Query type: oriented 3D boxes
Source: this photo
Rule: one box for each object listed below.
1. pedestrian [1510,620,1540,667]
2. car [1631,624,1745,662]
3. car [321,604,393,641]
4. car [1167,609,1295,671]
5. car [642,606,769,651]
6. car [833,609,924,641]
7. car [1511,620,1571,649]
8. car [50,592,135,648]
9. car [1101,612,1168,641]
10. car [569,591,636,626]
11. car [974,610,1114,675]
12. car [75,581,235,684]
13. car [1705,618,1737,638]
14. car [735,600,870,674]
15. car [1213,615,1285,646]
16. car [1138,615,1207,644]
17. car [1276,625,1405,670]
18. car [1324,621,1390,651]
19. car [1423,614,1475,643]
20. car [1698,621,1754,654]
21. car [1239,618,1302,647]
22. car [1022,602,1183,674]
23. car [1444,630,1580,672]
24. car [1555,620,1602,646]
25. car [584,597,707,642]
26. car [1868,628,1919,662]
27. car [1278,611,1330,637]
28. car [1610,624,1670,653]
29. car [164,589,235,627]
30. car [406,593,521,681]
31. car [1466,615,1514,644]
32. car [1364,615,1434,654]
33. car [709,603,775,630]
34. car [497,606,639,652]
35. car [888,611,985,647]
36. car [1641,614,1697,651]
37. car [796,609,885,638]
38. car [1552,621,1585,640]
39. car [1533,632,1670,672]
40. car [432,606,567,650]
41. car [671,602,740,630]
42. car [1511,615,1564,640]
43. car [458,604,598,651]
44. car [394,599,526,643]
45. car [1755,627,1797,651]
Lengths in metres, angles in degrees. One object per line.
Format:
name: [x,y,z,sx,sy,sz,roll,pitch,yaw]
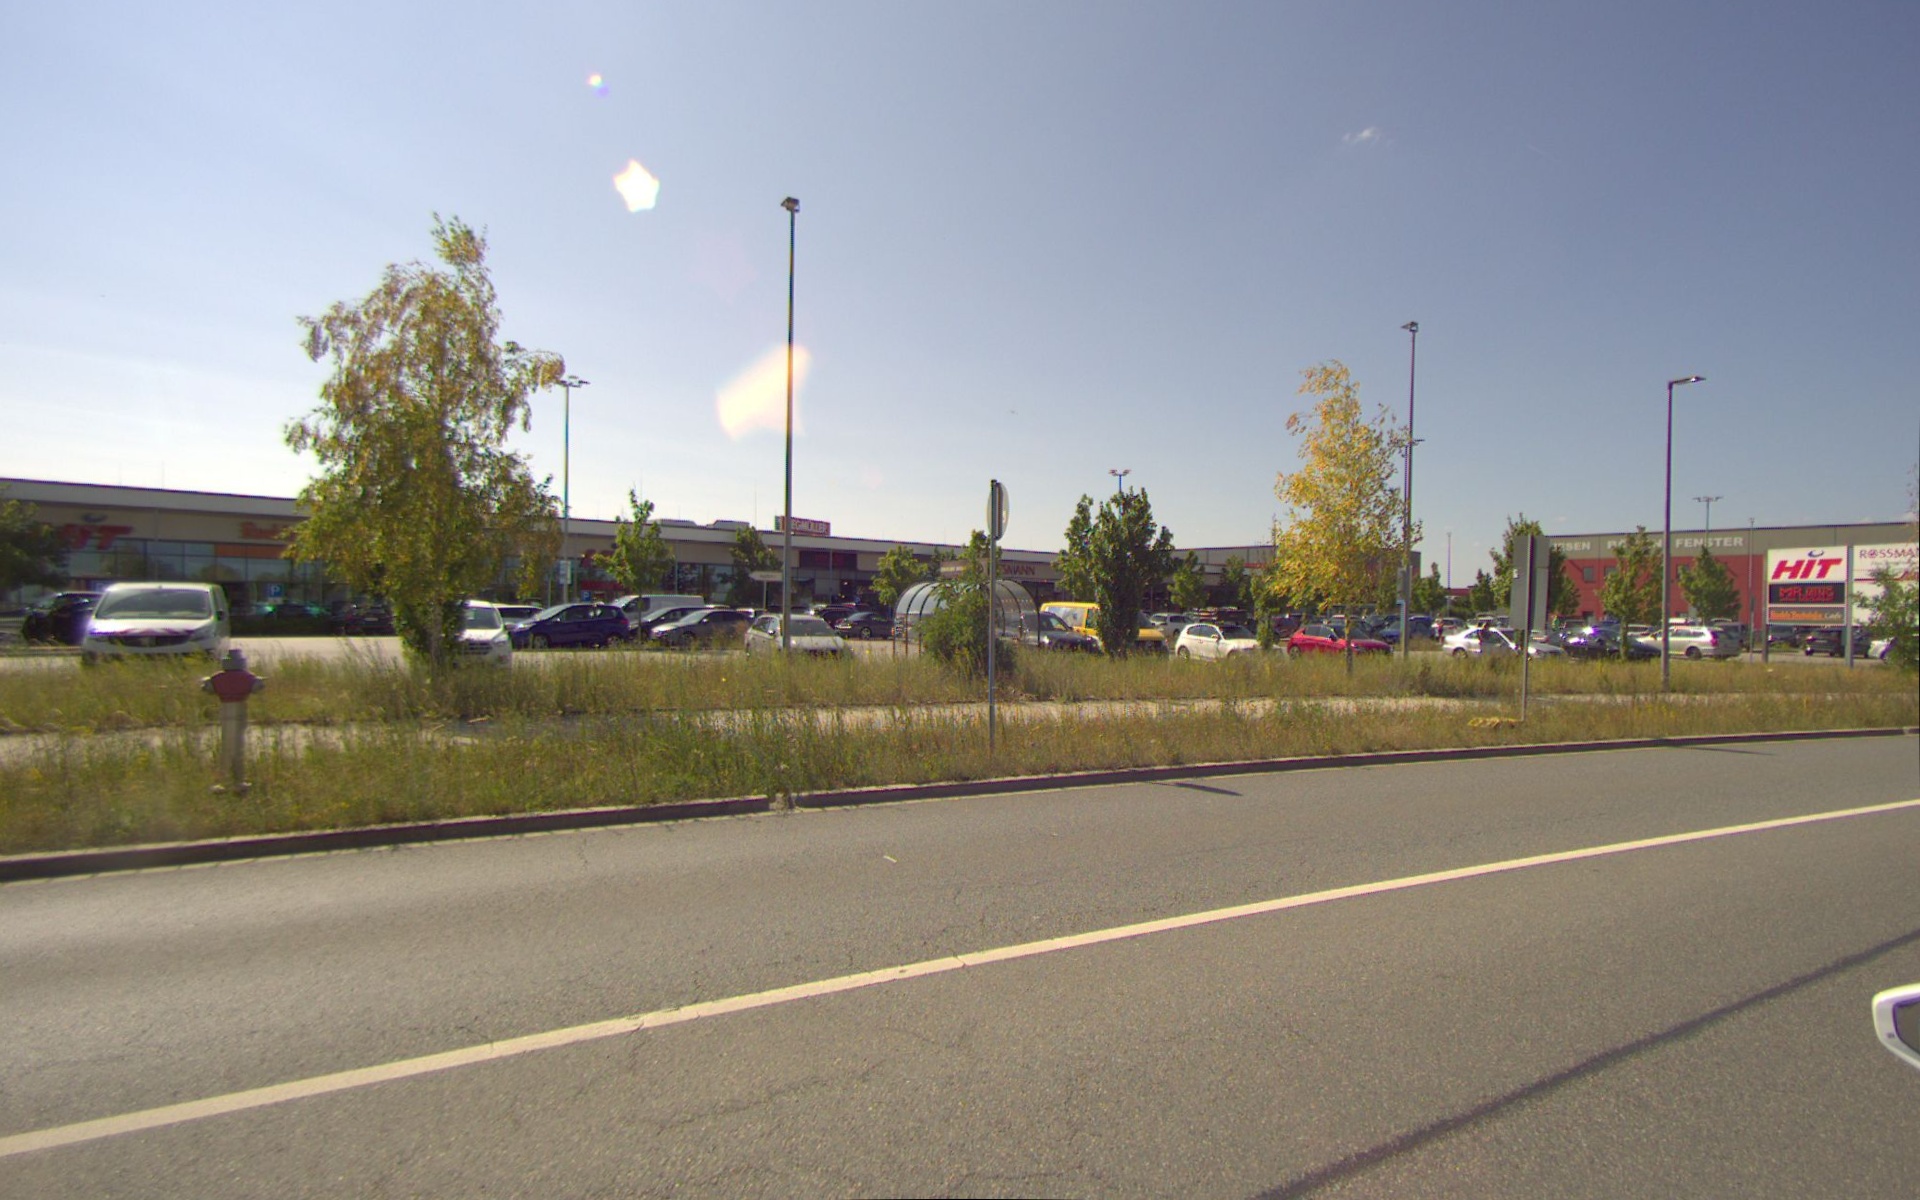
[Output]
pedestrian: [21.310,1.646,37.879,0.570,1.717,0.763,2,0,-21]
car: [33.644,1.947,46.560,1.811,1.568,3.985,2,-1,-18]
car: [-27.660,1.007,45.998,4.293,1.565,1.707,0,-1,43]
car: [8.765,1.257,32.854,1.905,1.886,4.134,1,-1,-23]
car: [-9.422,1.056,37.458,4.326,1.546,1.695,2,-1,-44]
car: [-3.999,1.240,49.516,4.320,1.497,1.697,2,-1,-41]
car: [35.809,2.120,61.867,4.349,1.639,1.894,2,-1,-42]
car: [-26.342,0.575,30.554,1.830,1.572,3.952,2,-1,-41]
car: [10.394,1.578,59.738,4.324,1.637,1.695,2,-1,-43]
car: [-19.723,0.468,55.343,4.293,1.832,1.707,0,-1,43]
car: [2.356,1.187,29.520,1.858,1.694,4.750,1,-1,-27]
car: [-15.120,0.549,19.141,1.980,1.694,5.147,1,-1,-35]
car: [63.919,2.345,84.338,1.644,1.636,4.058,1,-1,45]
car: [-4.136,0.878,25.676,1.975,1.694,4.682,1,-1,-28]
car: [15.359,1.603,53.236,4.324,1.581,1.695,2,-1,-43]
car: [12.223,1.699,57.615,4.324,1.565,1.695,2,-1,-43]
car: [13.116,1.606,34.883,1.908,1.366,4.136,1,-1,-21]
car: [22.115,1.999,55.869,4.324,1.602,1.695,2,-1,-43]
car: [32.065,1.873,65.823,1.890,1.749,4.357,1,-1,43]
car: [45.386,2.216,59.479,4.349,1.848,1.816,2,-1,-42]
car: [18.470,1.911,59.627,4.324,1.596,1.695,2,-1,-43]
car: [4.199,1.088,30.814,1.975,1.991,5.660,1,-1,-27]
car: [20.272,1.834,37.069,1.908,1.366,4.136,1,-1,-21]
car: [46.486,2.485,75.414,4.349,1.797,1.816,2,-1,-42]
car: [-12.915,0.812,41.425,4.546,1.764,1.697,2,-1,-40]
car: [45.698,2.165,46.877,1.815,1.532,4.589,2,-1,-27]
car: [25.100,1.755,73.238,1.891,1.740,4.355,1,-1,44]
car: [38.831,2.197,57.339,4.349,1.532,1.816,2,-1,-42]
car: [-32.060,0.324,42.307,4.293,1.540,1.707,0,-1,43]
car: [-10.847,0.732,21.788,1.976,1.694,4.568,1,-1,-29]
car: [33.745,1.852,63.914,1.887,1.740,4.364,1,-1,38]
car: [23.650,1.835,53.977,4.800,2.012,1.695,2,-1,-43]
car: [-13.073,0.975,60.093,4.293,1.561,1.707,0,-1,43]
car: [-13.072,0.962,33.622,4.110,1.444,1.696,2,-1,-42]
car: [-1.053,1.311,45.726,4.320,1.546,1.697,2,-1,-41]
car: [43.327,1.990,61.336,4.349,2.092,1.816,2,-1,-42]
car: [-6.115,1.207,51.684,4.320,1.436,1.697,2,-1,-41]
car: [56.487,2.836,93.223,4.056,1.608,1.644,2,-1,-44]
car: [24.671,1.978,38.807,1.908,1.366,4.136,1,-1,-21]
car: [-16.988,1.020,37.173,4.209,1.536,1.696,2,-1,-42]
car: [-14.817,0.922,58.399,4.293,1.545,1.824,0,-1,43]
car: [38.990,1.878,67.738,4.349,1.603,1.816,2,-1,-42]
car: [-15.106,0.959,35.275,4.209,1.536,1.696,2,-1,-42]
car: [-19.519,0.829,39.334,4.322,1.608,1.696,2,-1,-42]
car: [58.010,2.788,71.409,4.353,1.583,1.814,2,-1,-44]
